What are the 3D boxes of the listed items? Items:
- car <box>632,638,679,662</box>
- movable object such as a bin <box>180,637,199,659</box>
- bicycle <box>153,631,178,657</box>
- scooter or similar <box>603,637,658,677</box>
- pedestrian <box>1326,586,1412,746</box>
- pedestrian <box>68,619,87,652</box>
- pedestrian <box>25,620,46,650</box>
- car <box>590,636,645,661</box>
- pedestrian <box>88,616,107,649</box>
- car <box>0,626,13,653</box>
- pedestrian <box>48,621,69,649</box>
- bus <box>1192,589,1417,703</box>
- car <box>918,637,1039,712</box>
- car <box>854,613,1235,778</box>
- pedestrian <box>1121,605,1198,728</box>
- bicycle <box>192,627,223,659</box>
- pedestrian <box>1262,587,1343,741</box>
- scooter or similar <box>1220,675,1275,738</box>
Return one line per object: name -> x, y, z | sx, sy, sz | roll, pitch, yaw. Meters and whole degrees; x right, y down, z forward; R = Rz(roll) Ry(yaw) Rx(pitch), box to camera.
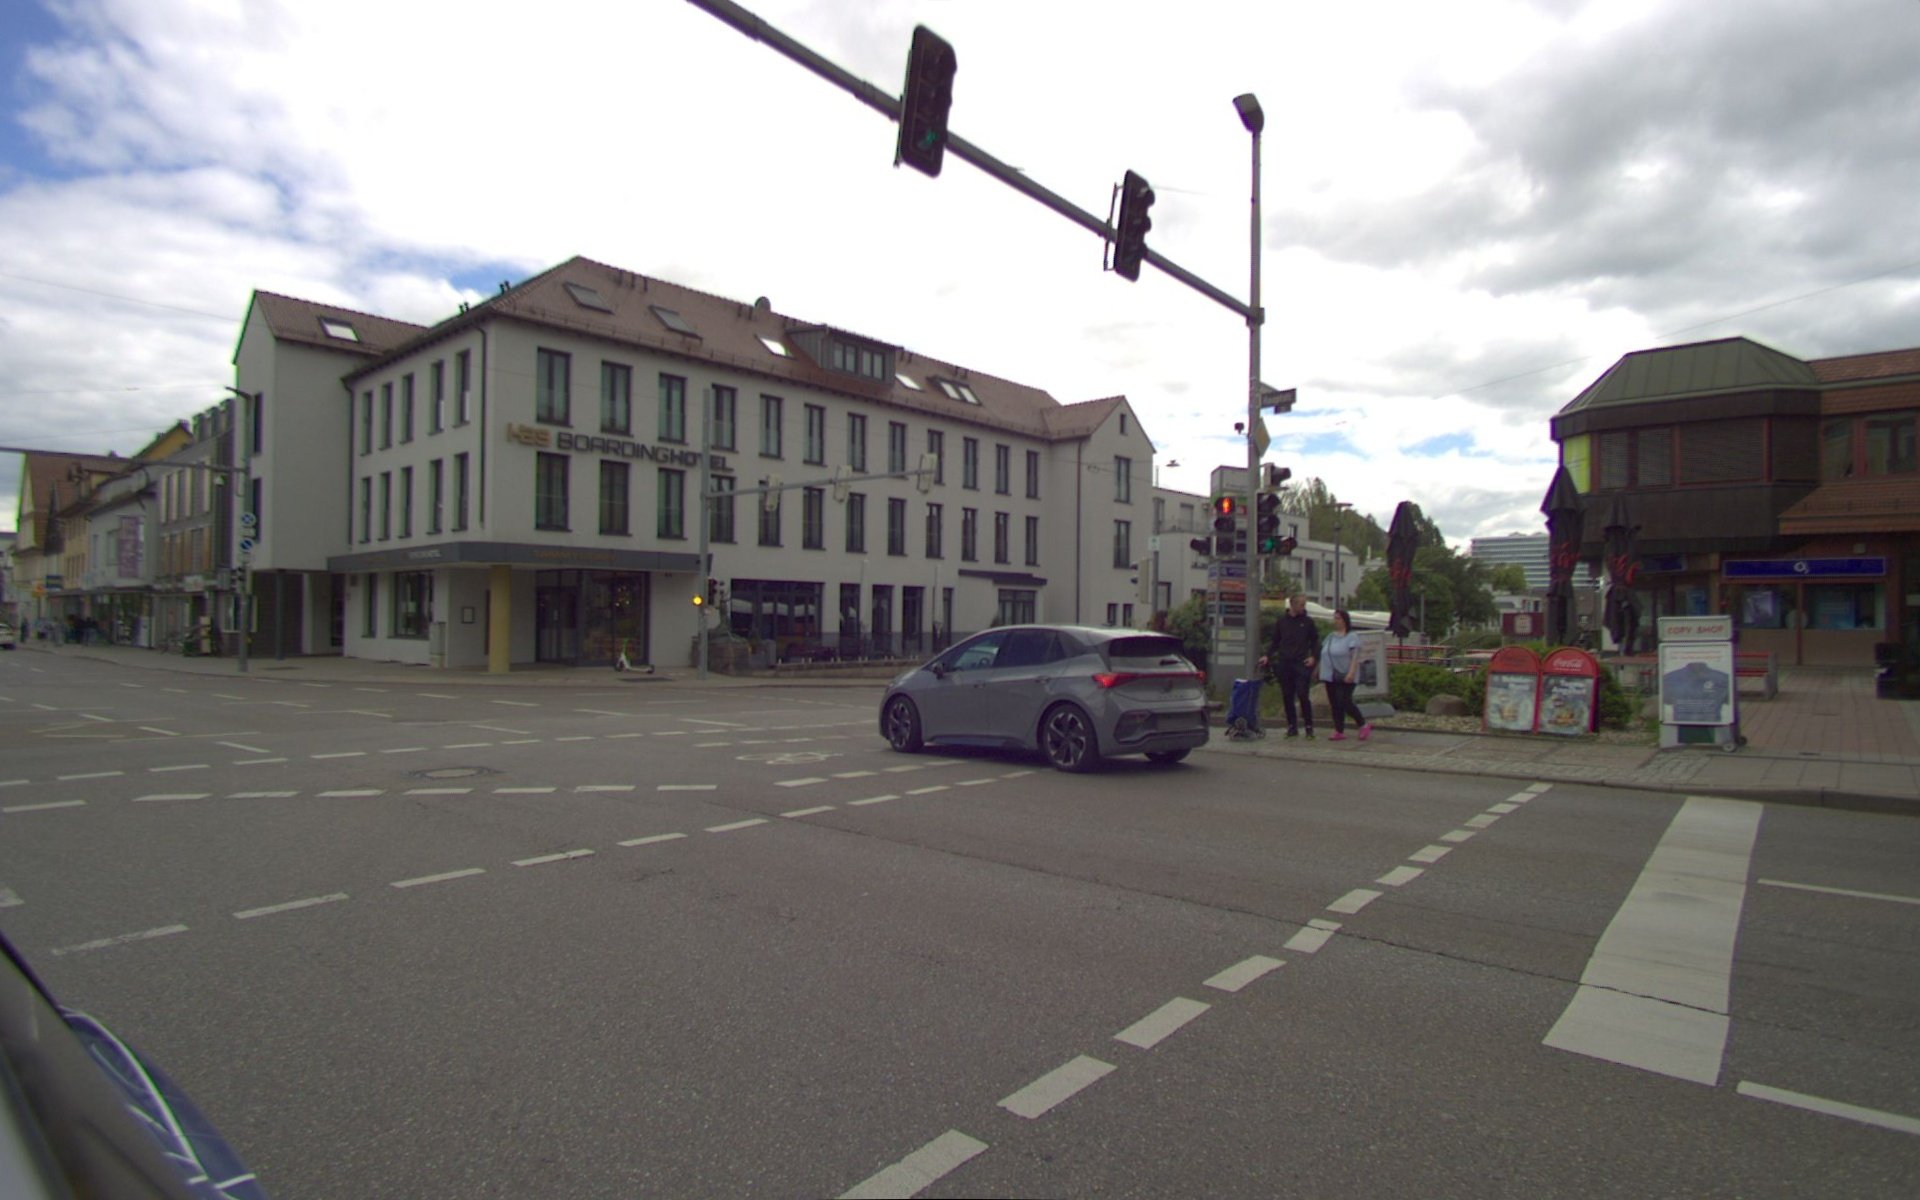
car -> -16.084, 2.628, 53.363 | 1.376, 1.189, 3.178 | 3, -4, -36
movable object such as a bin -> -31.993, 1.995, 42.027 | 0.506, 0.906, 0.545 | -1, -1, 40
bicycle -> -35.101, 1.948, 44.688 | 1.902, 1.109, 0.565 | -1, -1, 43
scooter or similar -> -10.272, 1.766, 31.557 | 1.552, 1.167, 0.426 | 2, -1, 1
pedestrian -> 4.885, 0.757, 12.081 | 0.773, 1.822, 0.803 | -1, -1, 34
pedestrian -> -49.142, 1.960, 56.343 | 1.028, 1.853, 0.699 | -1, -2, 44
pedestrian -> -52.310, 1.975, 57.277 | 0.920, 1.674, 0.801 | -1, -2, 43
car -> -17.545, 2.474, 51.809 | 1.378, 1.189, 3.355 | 1, -2, -43
pedestrian -> -48.539, 1.816, 56.937 | 0.870, 1.795, 0.699 | -1, -2, 44
car -> -53.026, 2.146, 55.169 | 4.234, 1.470, 1.725 | -2, -3, 42
pedestrian -> -51.646, 2.012, 57.951 | 0.920, 1.595, 0.801 | -1, -2, 43
bus -> 12.459, 1.732, 35.451 | 2.996, 3.353, 12.134 | -1, -4, 41
car -> 0.498, 1.561, 21.553 | 1.625, 1.429, 4.178 | -1, -4, 15
car -> 0.772, 0.980, 11.630 | 1.737, 1.528, 4.392 | 3, -3, -41
pedestrian -> 2.902, 0.945, 14.714 | 0.799, 1.727, 0.704 | 0, -2, -36
bicycle -> -30.004, 1.709, 40.349 | 2.118, 1.241, 0.576 | -1, -1, 41
pedestrian -> 4.255, 0.770, 12.562 | 0.744, 1.822, 0.803 | -1, -1, 34
scooter or similar -> 3.618, 1.329, 12.726 | 0.537, 0.732, 0.450 | -1, -2, 34
